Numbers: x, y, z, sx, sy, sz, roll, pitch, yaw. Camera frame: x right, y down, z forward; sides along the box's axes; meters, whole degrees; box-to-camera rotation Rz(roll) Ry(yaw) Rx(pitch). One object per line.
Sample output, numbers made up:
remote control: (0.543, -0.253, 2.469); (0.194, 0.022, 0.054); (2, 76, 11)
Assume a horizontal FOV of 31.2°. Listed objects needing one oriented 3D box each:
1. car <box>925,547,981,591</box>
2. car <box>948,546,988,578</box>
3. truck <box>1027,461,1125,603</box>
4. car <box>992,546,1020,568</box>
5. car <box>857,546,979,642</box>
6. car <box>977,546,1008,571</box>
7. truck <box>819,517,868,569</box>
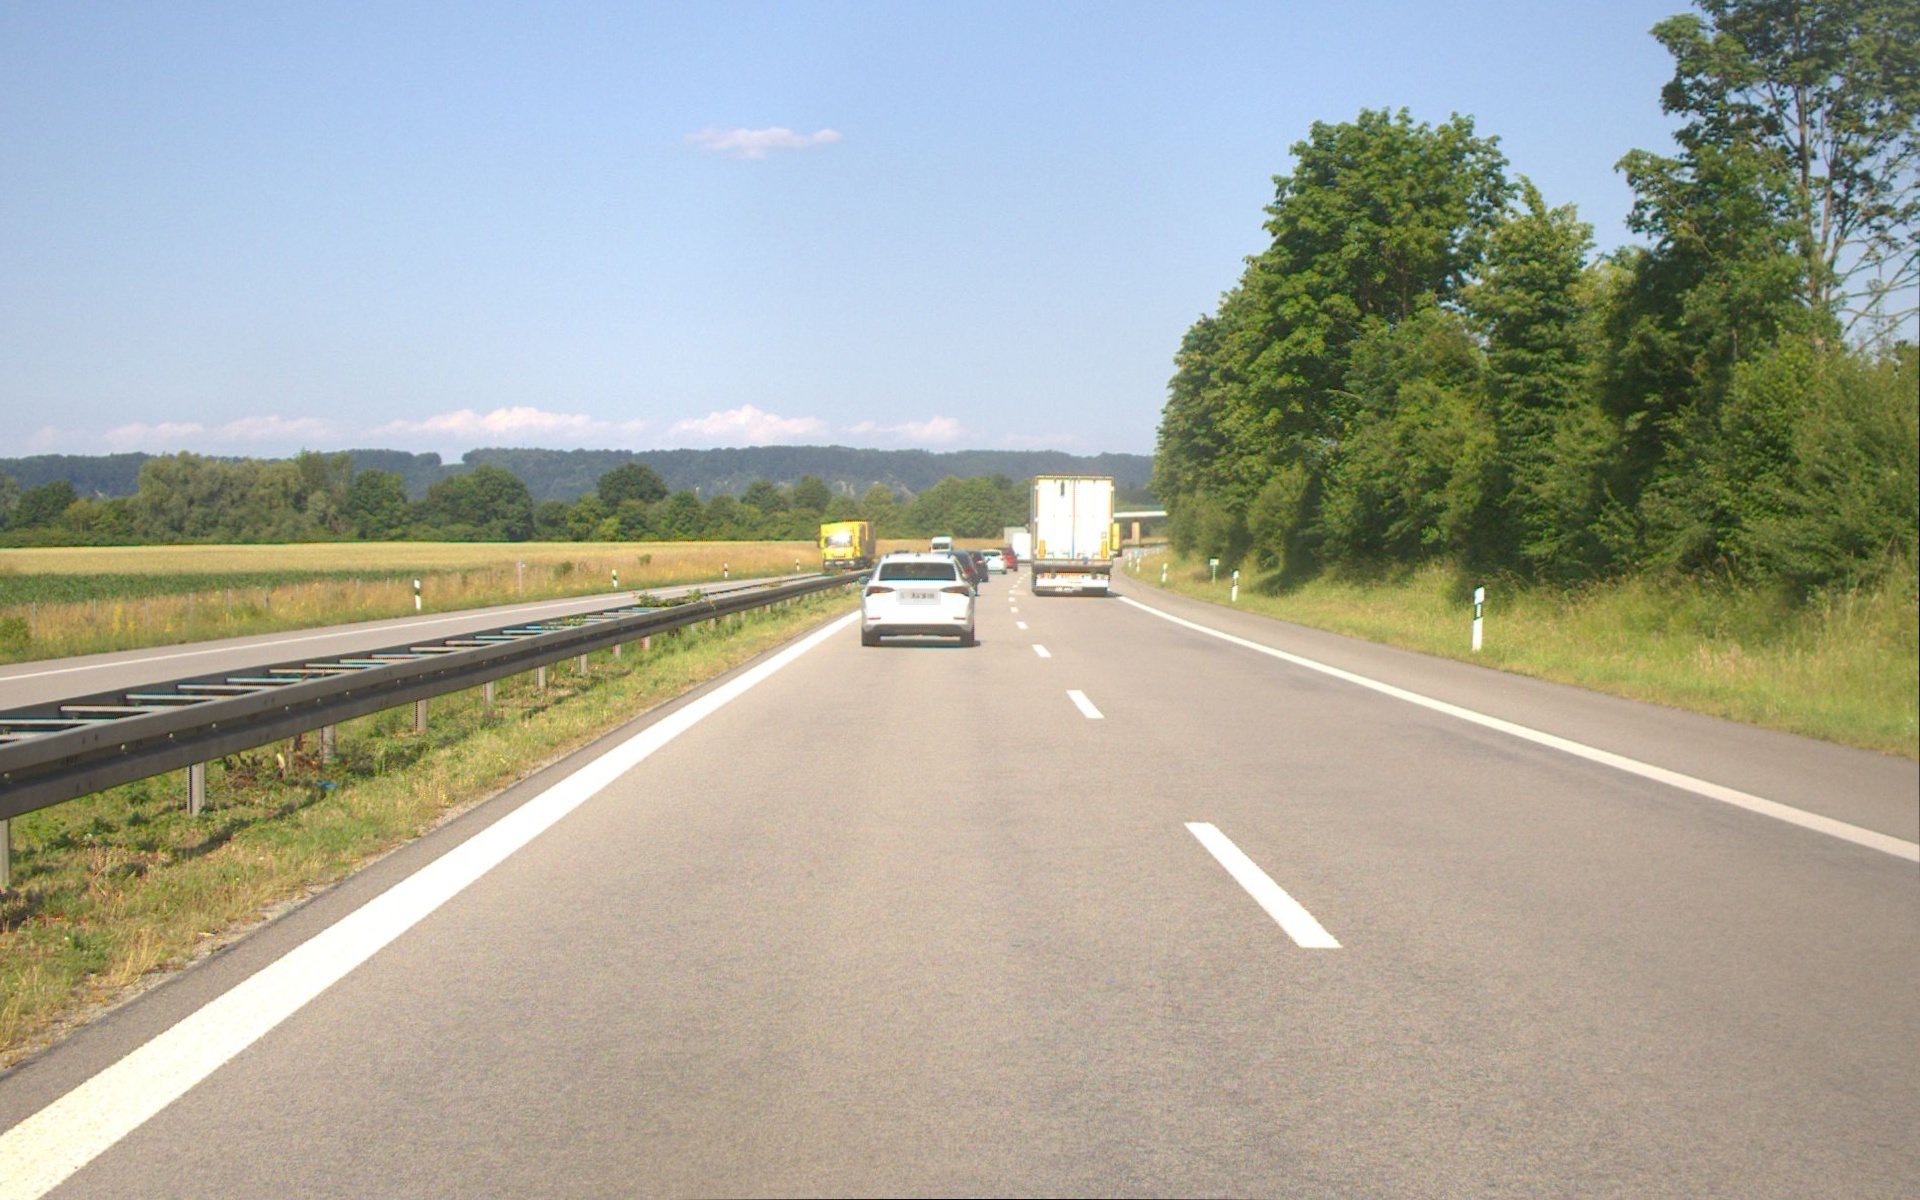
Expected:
car: (-0.253, -1.029, 112.545); (1.771, 1.416, 4.495); (1, 1, -1)
car: (0.362, -1.749, 157.964); (1.771, 1.416, 4.365); (1, 1, 1)
truck: (3.873, -2.303, 116.306); (3.152, 4.596, 8.905); (-1, 1, 1)
car: (2.934, -2.777, 220.886); (1.771, 1.416, 4.365); (1, 1, 1)
car: (-0.661, -0.129, 55.202); (1.840, 1.416, 5.255); (1, 1, -1)
car: (1.910, -2.437, 200.345); (1.771, 1.416, 4.365); (1, 1, 1)
truck: (-7.923, -3.912, 234.948); (2.735, 3.371, 9.233); (-3, 1, 1)
